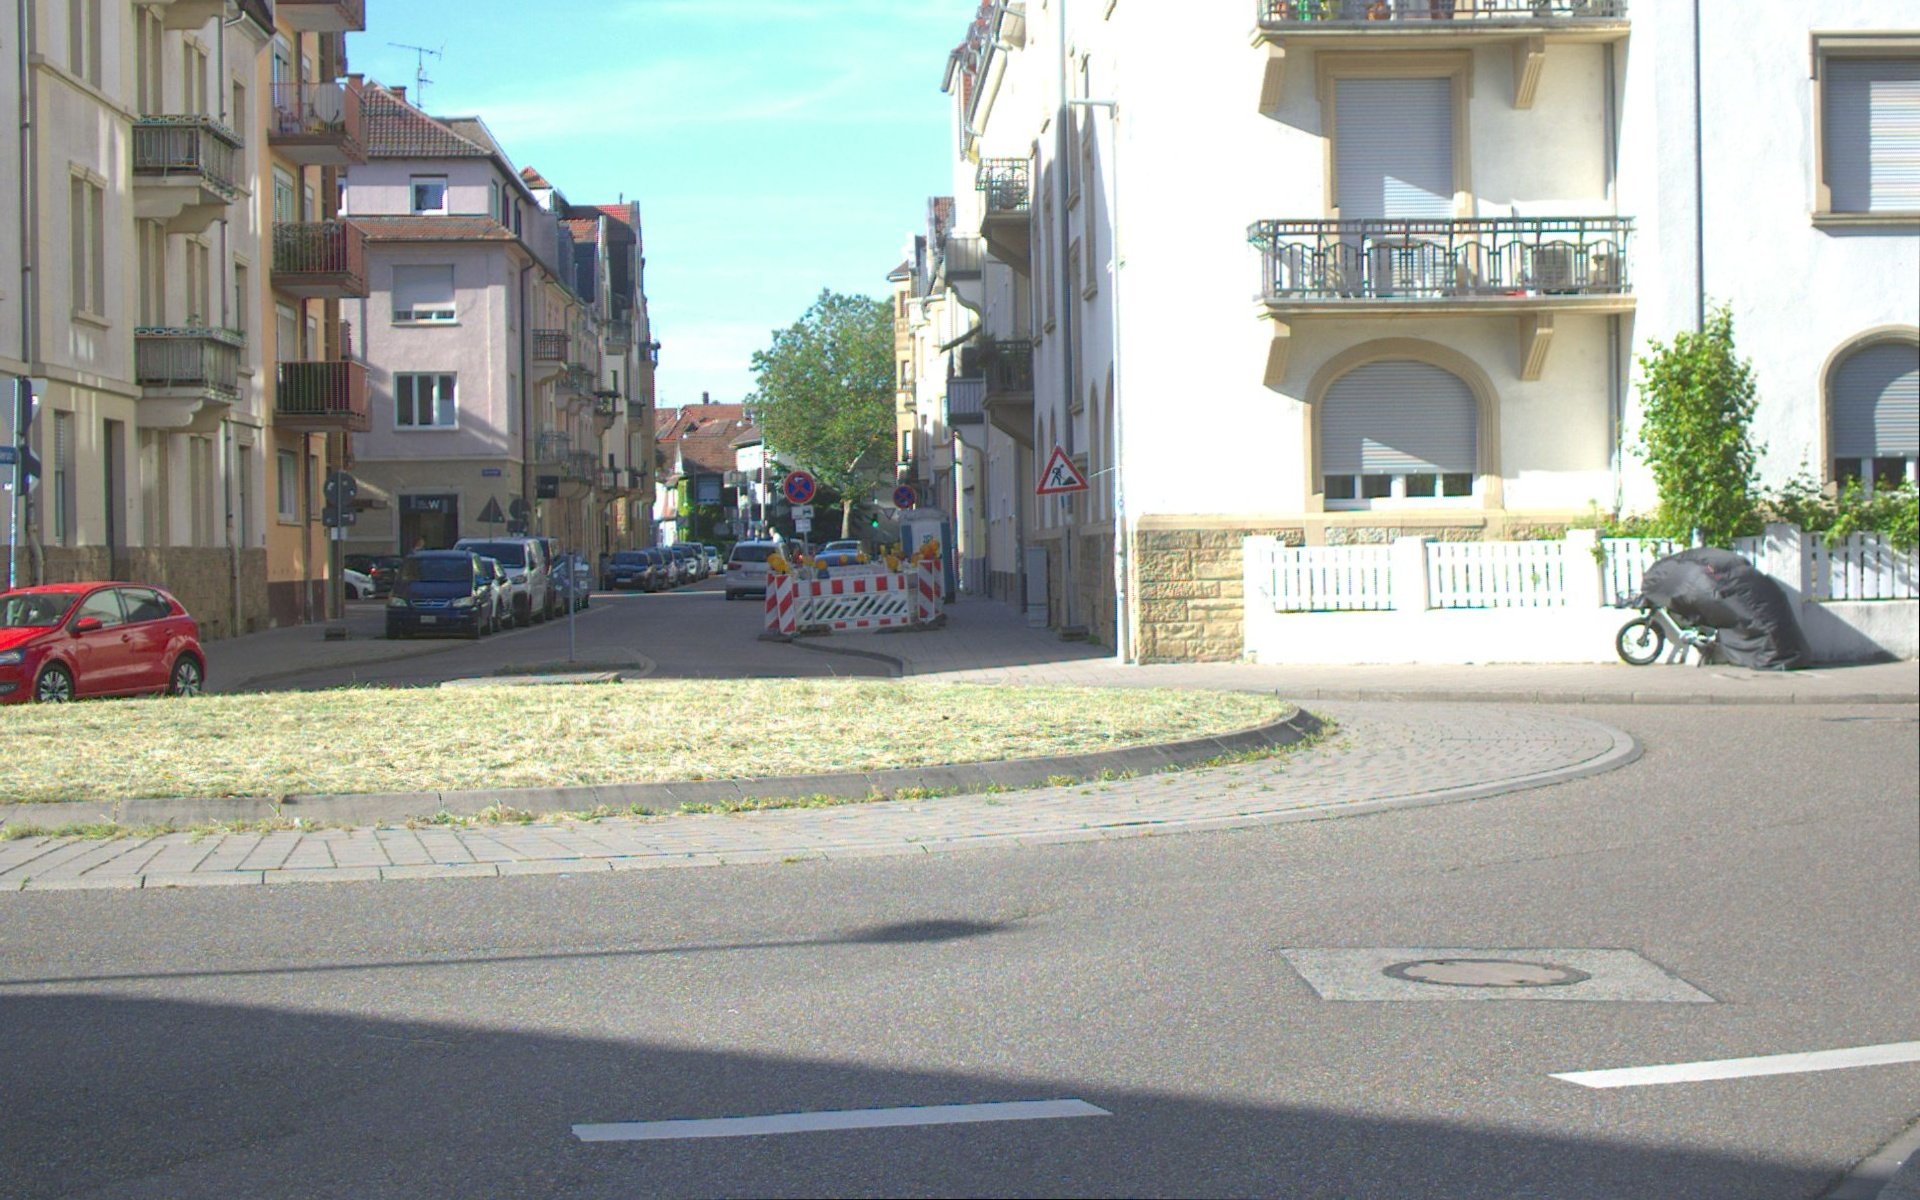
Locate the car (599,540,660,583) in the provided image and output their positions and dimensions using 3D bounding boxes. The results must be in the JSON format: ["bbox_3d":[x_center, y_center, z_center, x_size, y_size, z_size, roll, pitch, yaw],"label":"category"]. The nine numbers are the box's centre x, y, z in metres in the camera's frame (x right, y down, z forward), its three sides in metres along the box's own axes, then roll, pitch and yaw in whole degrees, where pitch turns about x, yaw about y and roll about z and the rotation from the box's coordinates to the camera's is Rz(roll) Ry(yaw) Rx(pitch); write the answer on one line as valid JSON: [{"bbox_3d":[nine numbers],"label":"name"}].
[{"bbox_3d":[-11.456,-1.310,119.448,1.679,1.421,4.274,1,0,0],"label":"car"}]

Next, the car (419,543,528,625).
[{"bbox_3d":[-9.784,-0.348,69.368,1.762,1.615,4.295,0,1,-2],"label":"car"}]

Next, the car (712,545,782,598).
[{"bbox_3d":[-6.214,-0.815,100.425,1.838,1.426,4.029,-2,0,-1],"label":"car"}]

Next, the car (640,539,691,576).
[{"bbox_3d":[-12.505,-1.782,146.182,1.978,1.477,4.328,1,0,-3],"label":"car"}]

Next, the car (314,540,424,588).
[{"bbox_3d":[-18.816,-1.151,109.432,3.529,1.434,1.700,2,3,44],"label":"car"}]

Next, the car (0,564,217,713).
[{"bbox_3d":[-9.852,0.396,37.003,1.713,1.377,3.997,-2,2,20],"label":"car"}]

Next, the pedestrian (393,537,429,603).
[{"bbox_3d":[-15.112,-0.832,94.705,0.923,1.811,0.995,0,1,-5],"label":"pedestrian"}]

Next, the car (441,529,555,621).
[{"bbox_3d":[-10.036,-0.573,74.958,1.975,1.918,5.310,0,1,-2],"label":"car"}]

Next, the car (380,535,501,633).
[{"bbox_3d":[-9.611,-0.323,63.830,1.762,1.765,4.295,0,1,-2],"label":"car"}]

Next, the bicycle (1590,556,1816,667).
[{"bbox_3d":[7.962,0.106,36.911,2.284,1.153,0.765,1,1,41],"label":"bicycle"}]

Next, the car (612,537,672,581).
[{"bbox_3d":[-11.996,-1.533,129.918,2.003,1.577,4.488,1,0,-3],"label":"car"}]
